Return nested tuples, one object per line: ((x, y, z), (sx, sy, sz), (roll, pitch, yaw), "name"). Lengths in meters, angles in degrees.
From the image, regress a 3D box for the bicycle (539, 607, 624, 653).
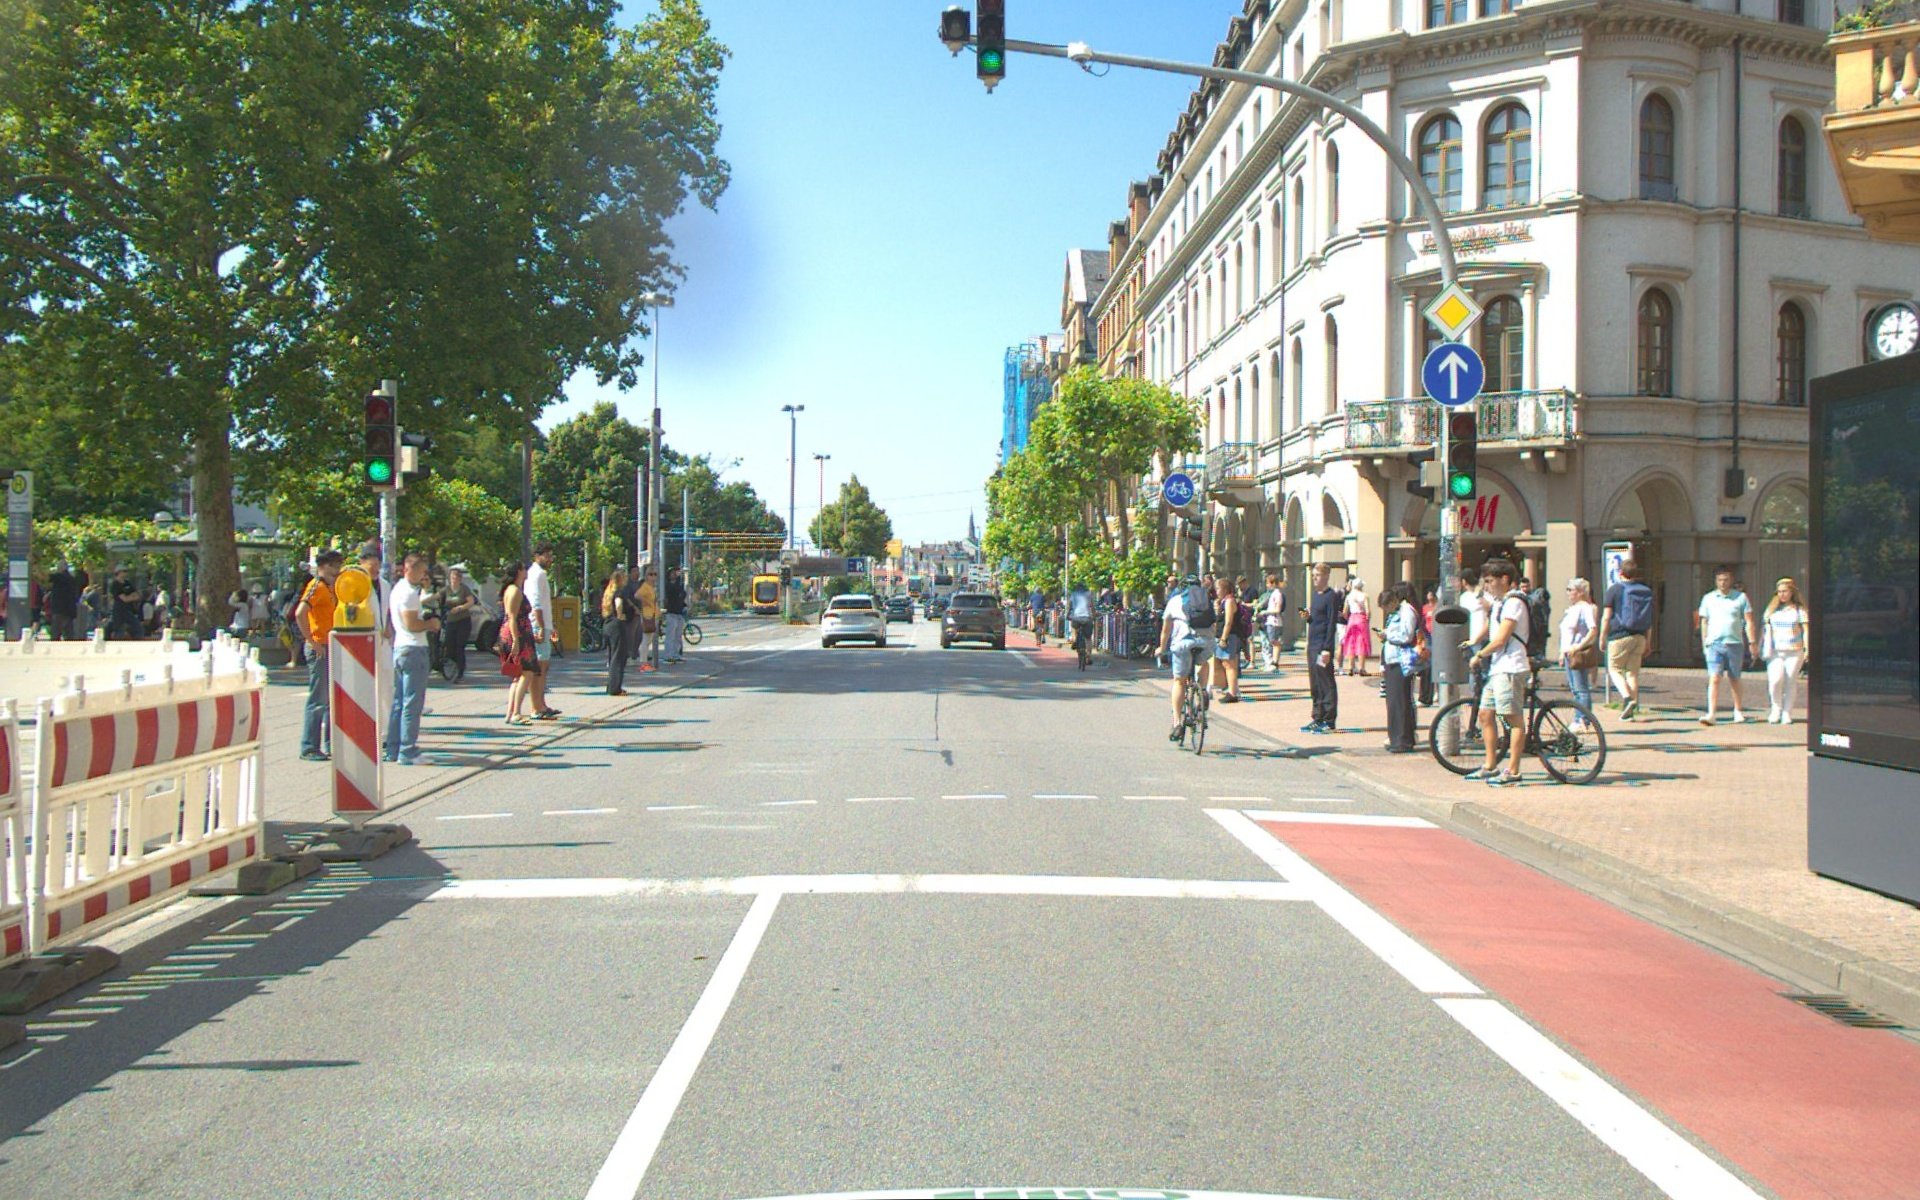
((-9.356, 0.744, 40.949), (2.046, 1.109, 0.682), (0, -1, -13), "bicycle")

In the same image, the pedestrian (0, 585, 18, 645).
((-24.941, 0.369, 42.752), (0.728, 1.540, 0.737), (1, 0, 13), "pedestrian")

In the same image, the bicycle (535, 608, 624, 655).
((-9.103, 0.754, 39.627), (2.046, 1.109, 0.682), (0, -1, -13), "bicycle")

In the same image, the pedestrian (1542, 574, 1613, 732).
((6.662, 0.565, 17.866), (0.537, 1.668, 0.589), (-1, -1, 2), "pedestrian")

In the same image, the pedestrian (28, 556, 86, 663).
((-15.879, 0.163, 29.099), (0.619, 1.842, 0.615), (-2, -1, 19), "pedestrian")

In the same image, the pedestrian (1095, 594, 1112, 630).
((6.394, 0.531, 73.896), (0.662, 1.600, 0.611), (0, 0, -3), "pedestrian")

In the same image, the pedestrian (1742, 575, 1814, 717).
((9.392, 0.518, 18.988), (0.579, 1.596, 0.547), (-1, -1, 45), "pedestrian")

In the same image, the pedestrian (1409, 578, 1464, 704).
((6.322, 0.543, 21.970), (0.512, 1.640, 0.641), (-1, -1, -1), "pedestrian")

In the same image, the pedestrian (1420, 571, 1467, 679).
((8.375, 0.433, 28.661), (0.598, 1.838, 0.677), (1, -1, -3), "pedestrian")

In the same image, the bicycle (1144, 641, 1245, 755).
((2.278, 0.933, 16.281), (0.617, 0.997, 2.088), (2, -1, -2), "bicycle")

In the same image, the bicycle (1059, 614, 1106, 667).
((2.518, 0.814, 34.140), (0.758, 1.023, 2.329), (0, 1, -1), "bicycle")

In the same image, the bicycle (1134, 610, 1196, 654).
((4.832, 0.759, 38.976), (1.391, 0.997, 0.401), (-1, 1, -1), "bicycle")

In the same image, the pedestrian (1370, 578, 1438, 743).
((4.557, 0.611, 16.998), (0.537, 1.659, 0.589), (-1, -1, 2), "pedestrian")

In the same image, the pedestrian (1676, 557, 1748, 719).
((8.695, 0.434, 19.121), (0.579, 1.833, 0.547), (-1, -1, 45), "pedestrian")

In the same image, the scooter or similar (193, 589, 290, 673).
((-12.716, 0.529, 29.285), (1.252, 1.445, 1.037), (0, 0, 29), "scooter or similar")

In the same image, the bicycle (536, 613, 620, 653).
((-9.671, 0.828, 41.946), (2.046, 0.997, 0.682), (0, -1, -13), "bicycle")

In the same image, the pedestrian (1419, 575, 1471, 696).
((6.710, 0.486, 22.906), (0.512, 1.637, 0.641), (-1, -1, -1), "pedestrian")

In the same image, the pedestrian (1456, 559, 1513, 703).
((6.856, 0.400, 21.644), (0.512, 1.855, 0.641), (-1, -1, -1), "pedestrian")

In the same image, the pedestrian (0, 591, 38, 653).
((-23.910, 0.552, 42.041), (0.593, 1.540, 0.745), (1, 0, -8), "pedestrian")

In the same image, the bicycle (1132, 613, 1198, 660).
((4.492, 0.803, 36.303), (1.391, 0.997, 0.445), (-1, 1, -1), "bicycle")

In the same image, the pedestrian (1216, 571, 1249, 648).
((6.529, 0.236, 39.623), (0.662, 1.823, 0.612), (0, 0, -1), "pedestrian")

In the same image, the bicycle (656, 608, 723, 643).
((-8.368, 0.797, 51.190), (1.935, 1.044, 0.674), (1, 0, -23), "bicycle")

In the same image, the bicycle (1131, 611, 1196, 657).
((4.573, 0.766, 37.127), (1.391, 0.997, 0.445), (-1, 1, -1), "bicycle")

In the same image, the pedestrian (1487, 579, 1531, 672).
((10.704, 0.488, 32.276), (0.598, 1.794, 0.677), (1, -1, -3), "pedestrian")

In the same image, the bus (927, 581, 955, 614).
((-2.244, -0.289, 191.187), (2.934, 3.657, 11.740), (1, 0, -2), "bus")

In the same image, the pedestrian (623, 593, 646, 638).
((-12.158, 0.568, 61.795), (0.755, 1.657, 0.611), (1, -1, -2), "pedestrian")

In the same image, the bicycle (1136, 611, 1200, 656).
((4.714, 0.763, 37.591), (1.391, 0.997, 0.445), (-1, 1, -1), "bicycle")

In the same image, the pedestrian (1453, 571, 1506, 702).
((6.982, 0.481, 22.246), (0.512, 1.732, 0.535), (-1, -1, -1), "pedestrian")

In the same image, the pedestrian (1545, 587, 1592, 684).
((10.636, 0.619, 28.924), (0.529, 1.662, 0.677), (1, -1, -3), "pedestrian")

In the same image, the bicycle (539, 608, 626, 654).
((-9.194, 0.754, 40.301), (2.046, 1.109, 0.682), (0, -1, -13), "bicycle")

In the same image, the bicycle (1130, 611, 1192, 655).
((4.686, 0.761, 38.538), (1.391, 0.997, 0.445), (-1, 1, -1), "bicycle")

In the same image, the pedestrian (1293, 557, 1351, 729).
((4.122, 0.483, 18.865), (0.512, 1.931, 0.641), (-1, -1, 2), "pedestrian")

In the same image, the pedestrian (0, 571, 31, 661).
((-17.332, 0.297, 30.147), (0.488, 1.631, 0.498), (-1, -1, 19), "pedestrian")

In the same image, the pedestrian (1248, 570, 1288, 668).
((5.848, 0.362, 31.384), (0.598, 1.838, 0.677), (1, -1, -3), "pedestrian")

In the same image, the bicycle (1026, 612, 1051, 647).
((2.371, 0.893, 50.084), (0.634, 1.015, 2.030), (1, 0, -1), "bicycle")

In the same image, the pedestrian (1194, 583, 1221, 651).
((6.692, 0.457, 44.793), (0.615, 1.823, 0.612), (0, 0, -1), "pedestrian")

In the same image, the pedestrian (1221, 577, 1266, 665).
((5.706, 0.414, 33.279), (0.603, 1.735, 0.671), (-1, 0, -29), "pedestrian")

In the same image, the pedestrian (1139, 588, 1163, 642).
((6.103, 0.480, 52.763), (0.662, 1.694, 0.611), (0, 0, -3), "pedestrian")

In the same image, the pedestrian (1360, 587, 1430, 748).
((4.293, 0.654, 16.350), (0.512, 1.548, 0.641), (-1, -1, 2), "pedestrian")

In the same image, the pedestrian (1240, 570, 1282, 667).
((5.846, 0.364, 32.156), (0.598, 1.838, 0.677), (-2, 0, -3), "pedestrian")

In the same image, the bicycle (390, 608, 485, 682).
((-7.796, 0.650, 24.753), (0.479, 1.047, 1.936), (0, 0, 11), "bicycle")

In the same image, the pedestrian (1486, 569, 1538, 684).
((9.174, 0.434, 27.488), (0.662, 1.888, 0.541), (1, -1, -3), "pedestrian")

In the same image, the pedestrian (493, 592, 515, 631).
((-20.689, 0.507, 75.020), (0.695, 1.737, 0.656), (0, -1, 14), "pedestrian")

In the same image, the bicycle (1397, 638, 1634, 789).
((4.498, 0.884, 13.508), (0.595, 1.101, 1.816), (-2, 1, -35), "bicycle")

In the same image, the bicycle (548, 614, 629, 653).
((-9.685, 0.859, 43.170), (2.046, 0.997, 0.682), (0, -1, -13), "bicycle")

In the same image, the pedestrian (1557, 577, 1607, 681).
((10.583, 0.486, 28.154), (0.529, 1.746, 0.677), (1, -1, -5), "pedestrian")

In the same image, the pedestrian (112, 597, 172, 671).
((-14.735, 0.610, 29.807), (0.619, 1.315, 0.731), (0, -1, 20), "pedestrian")
